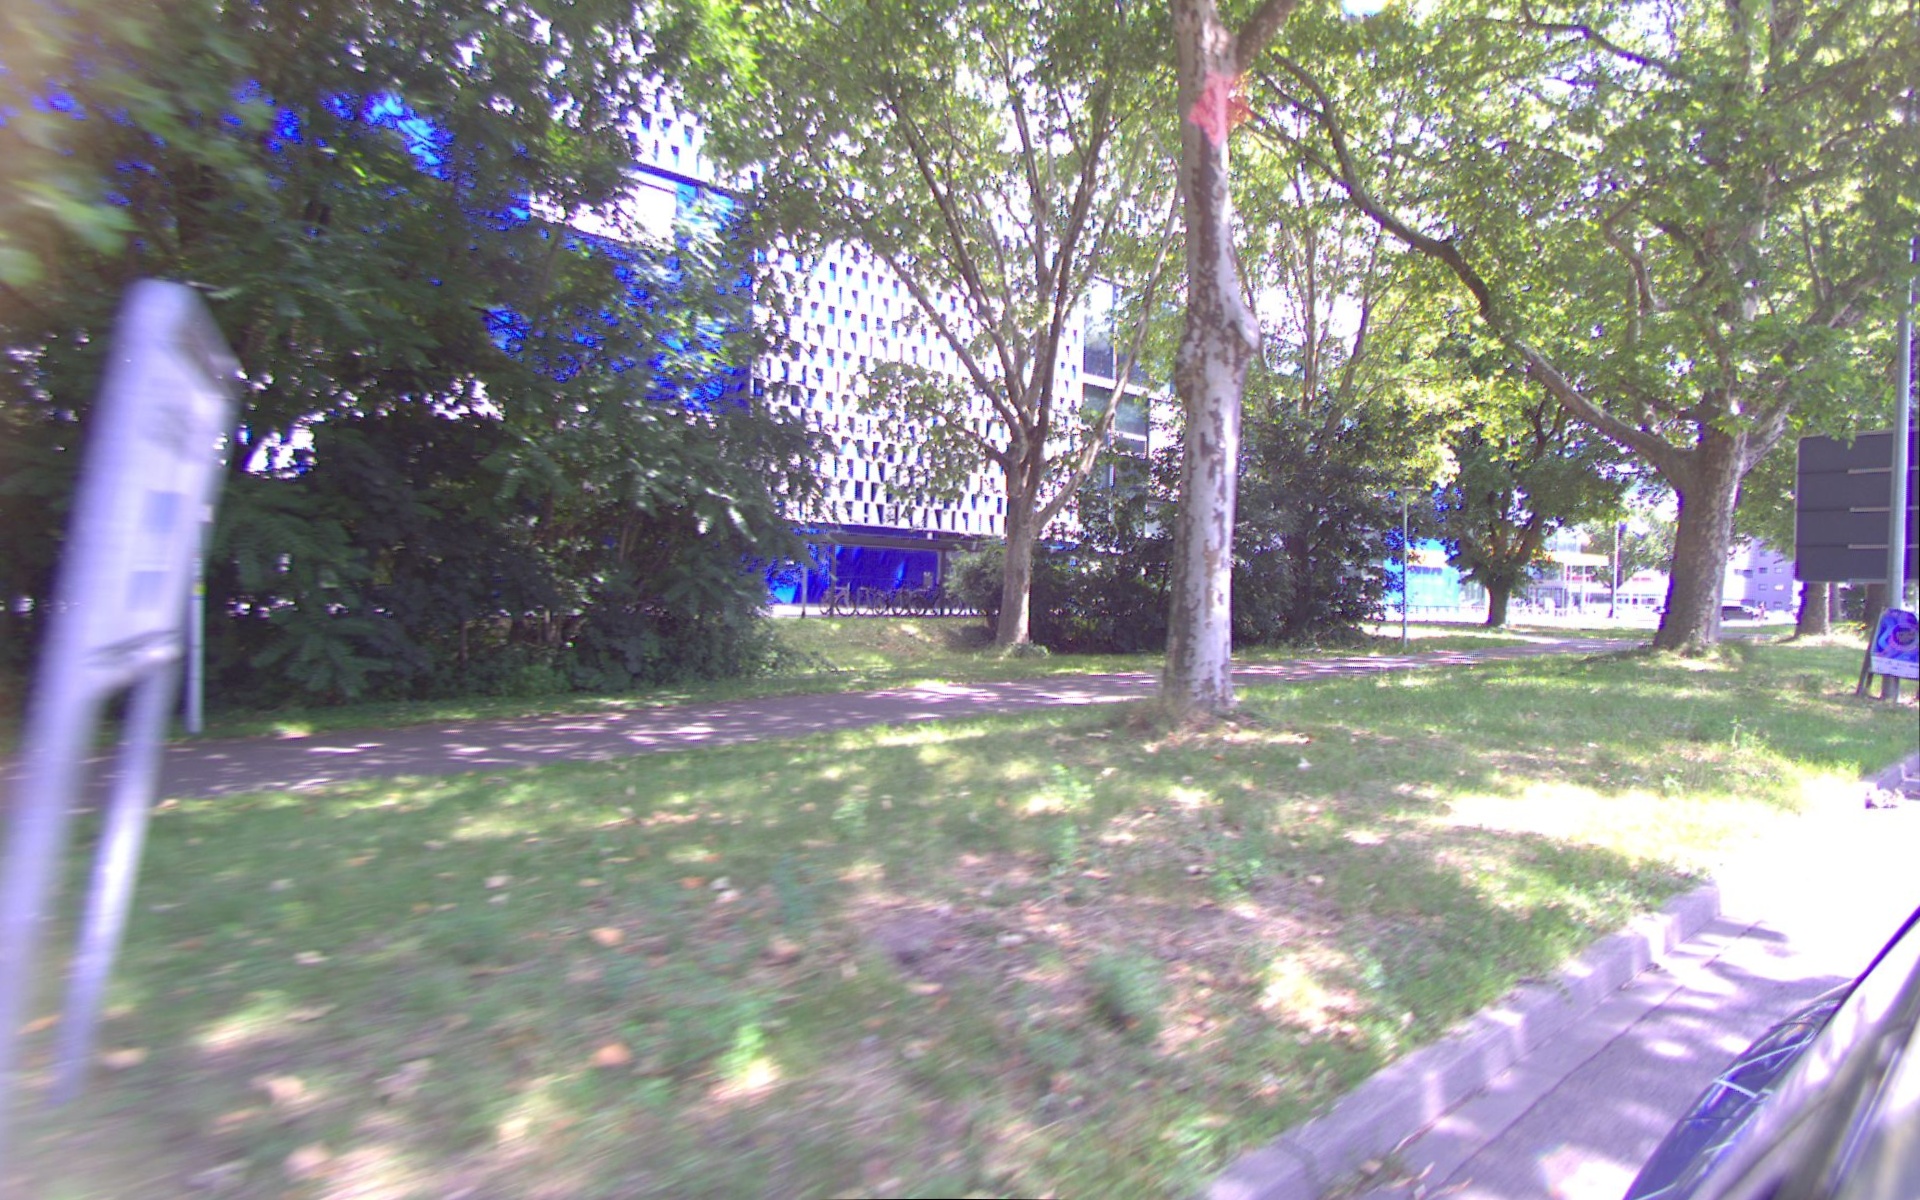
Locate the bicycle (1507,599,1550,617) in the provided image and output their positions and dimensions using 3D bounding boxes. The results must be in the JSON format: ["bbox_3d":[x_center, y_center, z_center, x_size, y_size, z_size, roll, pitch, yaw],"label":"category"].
[{"bbox_3d":[33.592,0.478,59.841,0.854,0.981,2.062,1,0,-43],"label":"bicycle"}]

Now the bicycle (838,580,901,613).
[{"bbox_3d":[-2.824,-0.110,31.388,0.854,0.981,2.062,1,0,-43],"label":"bicycle"}]

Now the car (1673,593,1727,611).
[{"bbox_3d":[74.904,0.193,102.488,1.965,1.660,4.076,0,1,-40],"label":"car"}]

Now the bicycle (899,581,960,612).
[{"bbox_3d":[-1.021,-0.127,33.059,0.854,0.981,2.062,1,0,-43],"label":"bicycle"}]

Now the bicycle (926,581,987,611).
[{"bbox_3d":[-0.130,-0.134,33.877,0.854,0.981,2.062,1,0,-43],"label":"bicycle"}]

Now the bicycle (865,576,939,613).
[{"bbox_3d":[-1.872,-0.188,32.317,0.854,1.131,2.630,1,0,-43],"label":"bicycle"}]

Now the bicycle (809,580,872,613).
[{"bbox_3d":[-3.623,-0.120,30.603,0.854,0.981,2.062,1,0,-43],"label":"bicycle"}]
